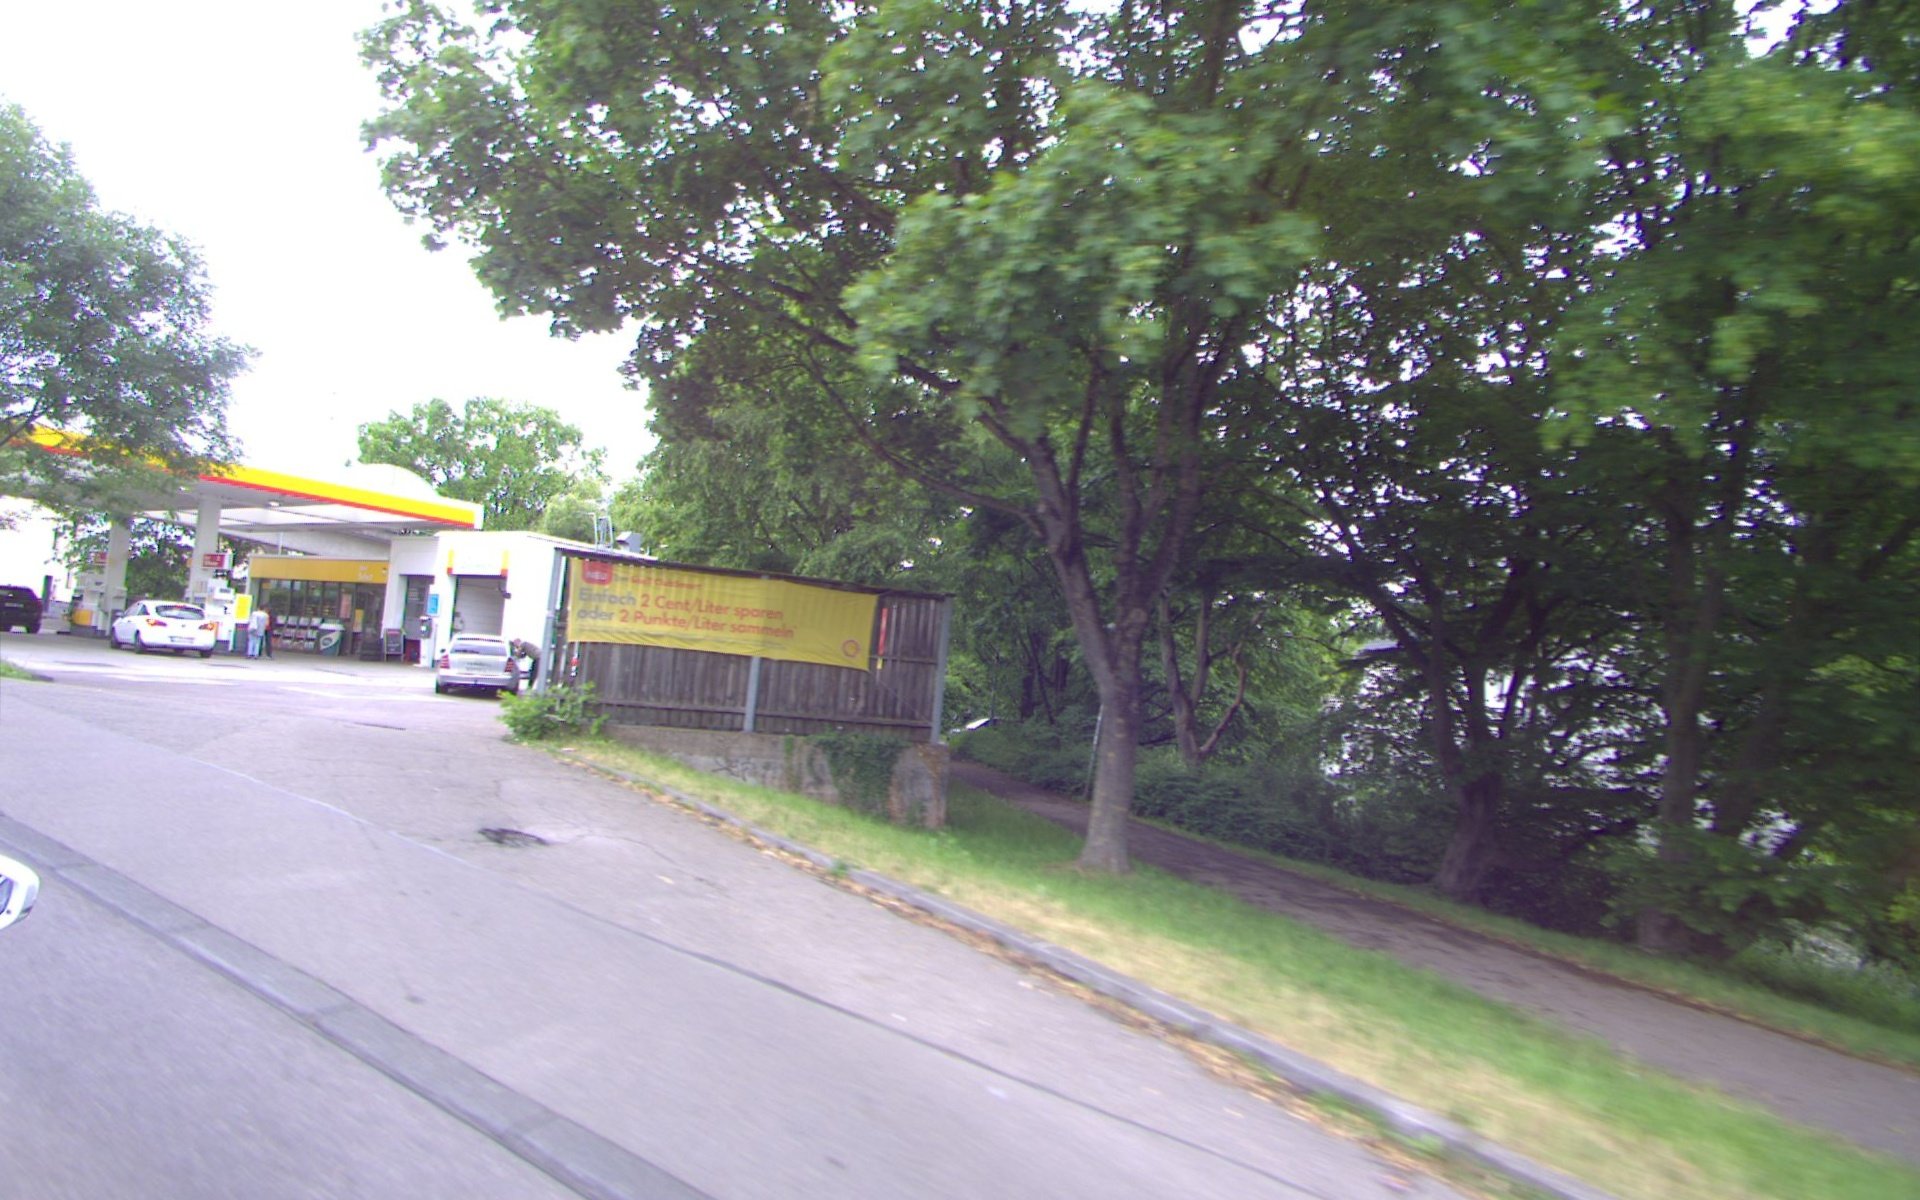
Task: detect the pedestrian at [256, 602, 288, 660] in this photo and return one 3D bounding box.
[{"bbox_3d":[-21.271,0.965,31.103,0.424,1.724,0.493,6,-2,23],"label":"pedestrian"}]

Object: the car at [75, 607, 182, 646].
[{"bbox_3d":[-37.809,1.214,45.817,3.601,1.474,1.641,7,-5,-40],"label":"car"}]

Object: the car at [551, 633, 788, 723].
[{"bbox_3d":[-5.686,1.564,19.851,4.229,1.441,1.732,5,-5,-19],"label":"car"}]

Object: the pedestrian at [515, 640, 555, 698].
[{"bbox_3d":[-10.524,1.694,24.892,0.731,1.327,0.699,8,-3,-25],"label":"pedestrian"}]

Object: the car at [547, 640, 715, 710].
[{"bbox_3d":[-8.671,1.982,26.725,4.038,1.537,1.624,5,-2,-18],"label":"car"}]

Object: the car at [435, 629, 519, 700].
[{"bbox_3d":[-11.513,1.491,24.148,1.580,1.448,4.274,5,-3,-24],"label":"car"}]

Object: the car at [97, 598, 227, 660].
[{"bbox_3d":[-22.643,0.811,28.522,3.819,1.502,1.737,1,-4,34],"label":"car"}]

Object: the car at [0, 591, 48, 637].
[{"bbox_3d":[-34.394,0.430,35.945,3.819,1.502,1.737,1,-4,34],"label":"car"}]

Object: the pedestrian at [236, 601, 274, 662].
[{"bbox_3d":[-21.247,0.951,30.315,0.599,1.724,0.544,6,-2,27],"label":"pedestrian"}]

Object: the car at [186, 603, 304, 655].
[{"bbox_3d":[-31.902,1.329,44.975,1.716,1.959,3.866,1,-5,37],"label":"car"}]

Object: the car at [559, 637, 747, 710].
[{"bbox_3d":[-7.475,1.793,24.689,4.153,1.452,1.730,5,-2,-18],"label":"car"}]
